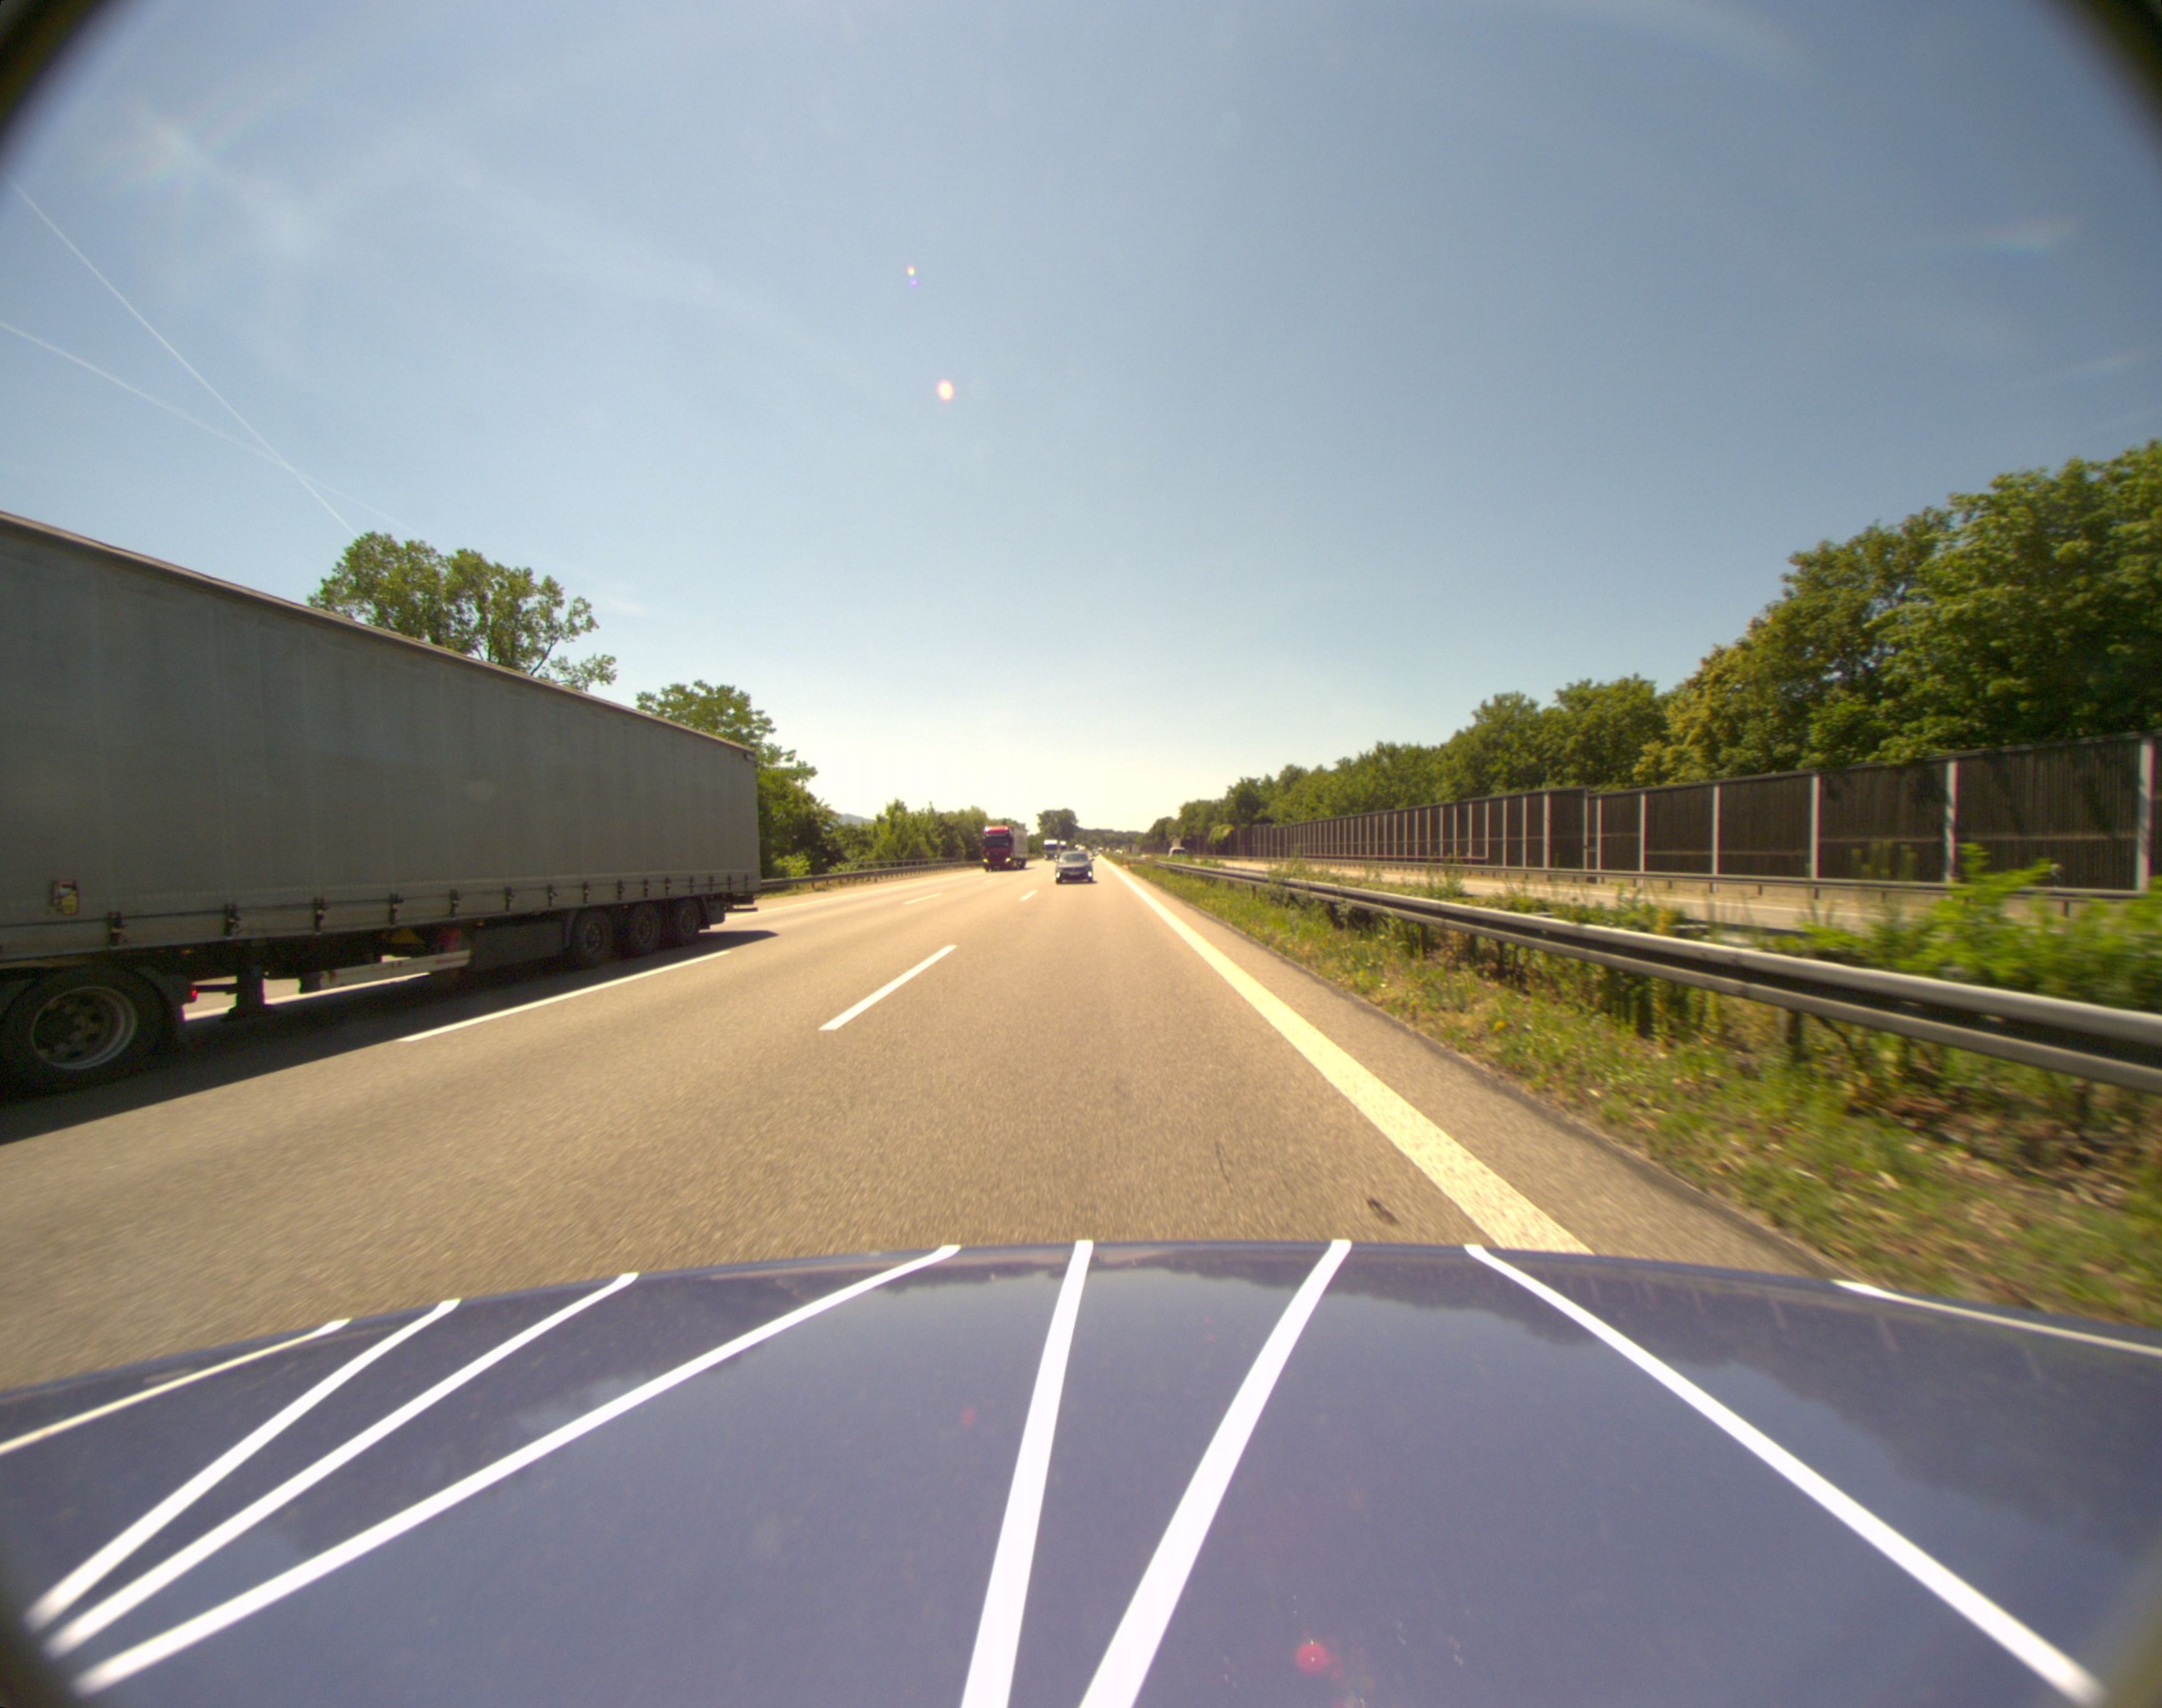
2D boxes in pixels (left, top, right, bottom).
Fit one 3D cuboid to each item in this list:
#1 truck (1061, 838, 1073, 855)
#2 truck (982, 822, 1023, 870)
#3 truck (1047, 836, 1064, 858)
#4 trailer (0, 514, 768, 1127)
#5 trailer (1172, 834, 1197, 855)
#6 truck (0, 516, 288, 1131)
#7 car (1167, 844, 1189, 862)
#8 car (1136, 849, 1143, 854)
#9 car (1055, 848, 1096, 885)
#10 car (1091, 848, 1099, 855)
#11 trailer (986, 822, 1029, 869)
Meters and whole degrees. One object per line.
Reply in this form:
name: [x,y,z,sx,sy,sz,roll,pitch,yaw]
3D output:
truck: [-3.414,-1.823,188.243,2.743,3.844,12.464,-2,1,0]
truck: [-7.055,-0.741,69.577,2.802,4.094,7.768,-2,1,0]
truck: [-5.135,-1.422,153.953,2.992,4.248,9.822,-2,1,0]
trailer: [-8.478,-0.260,10.205,2.707,4.094,13.239,-2,1,1]
trailer: [20.174,-1.834,148.366,3.125,3.985,13.874,1,1,1]
truck: [-8.546,-0.155,3.266,2.707,4.094,6.989,-2,1,0]
car: [10.377,-0.155,81.479,1.787,1.830,4.558,0,1,0]
car: [17.420,-0.779,227.058,2.001,1.565,4.000,-1,1,3]
car: [-0.259,0.565,37.965,1.885,1.630,5.008,-1,1,0]
car: [3.732,-0.742,202.386,1.999,1.772,3.999,-2,1,-1]
trailer: [-7.055,-0.850,74.599,2.802,4.094,12.298,-2,1,0]
